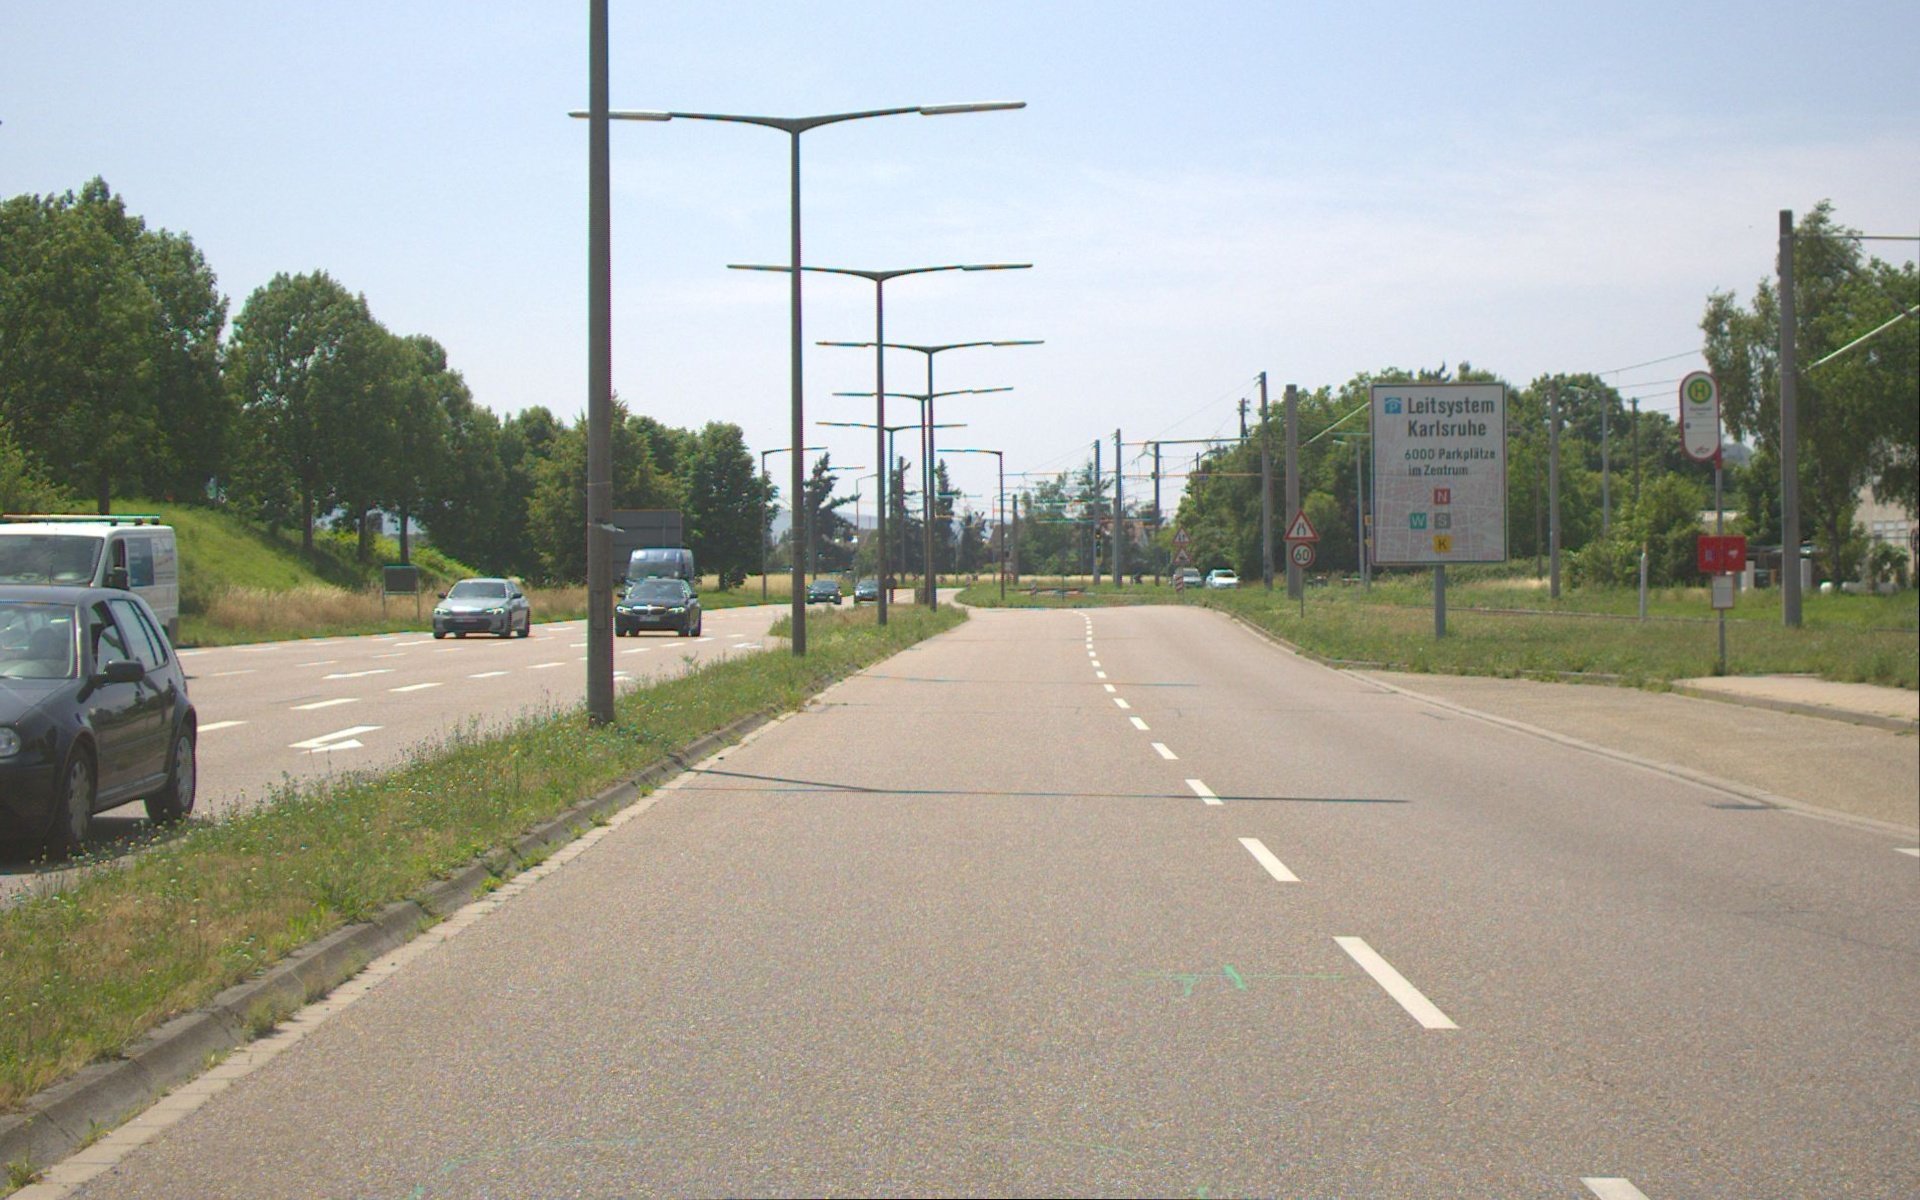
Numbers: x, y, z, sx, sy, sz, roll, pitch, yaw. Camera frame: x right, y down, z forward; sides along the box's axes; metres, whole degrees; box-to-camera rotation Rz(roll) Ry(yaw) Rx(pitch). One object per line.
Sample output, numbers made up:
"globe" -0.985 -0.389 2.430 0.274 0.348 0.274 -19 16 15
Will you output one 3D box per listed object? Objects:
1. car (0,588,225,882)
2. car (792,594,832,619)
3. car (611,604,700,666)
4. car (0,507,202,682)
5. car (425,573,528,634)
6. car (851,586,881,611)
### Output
"car" -5.353 0.657 19.076 1.676 1.429 4.191 1 0 -1
"car" -8.625 0.353 201.004 1.993 1.355 4.665 -1 0 2
"car" -7.656 0.864 86.813 1.731 1.453 4.564 0 0 2
"car" -12.274 -0.087 47.546 2.249 2.265 5.448 1 0 1
"car" -11.764 0.064 83.923 1.831 1.444 4.851 0 0 0
"car" -5.756 -0.118 210.144 1.692 1.486 4.000 0 0 0
